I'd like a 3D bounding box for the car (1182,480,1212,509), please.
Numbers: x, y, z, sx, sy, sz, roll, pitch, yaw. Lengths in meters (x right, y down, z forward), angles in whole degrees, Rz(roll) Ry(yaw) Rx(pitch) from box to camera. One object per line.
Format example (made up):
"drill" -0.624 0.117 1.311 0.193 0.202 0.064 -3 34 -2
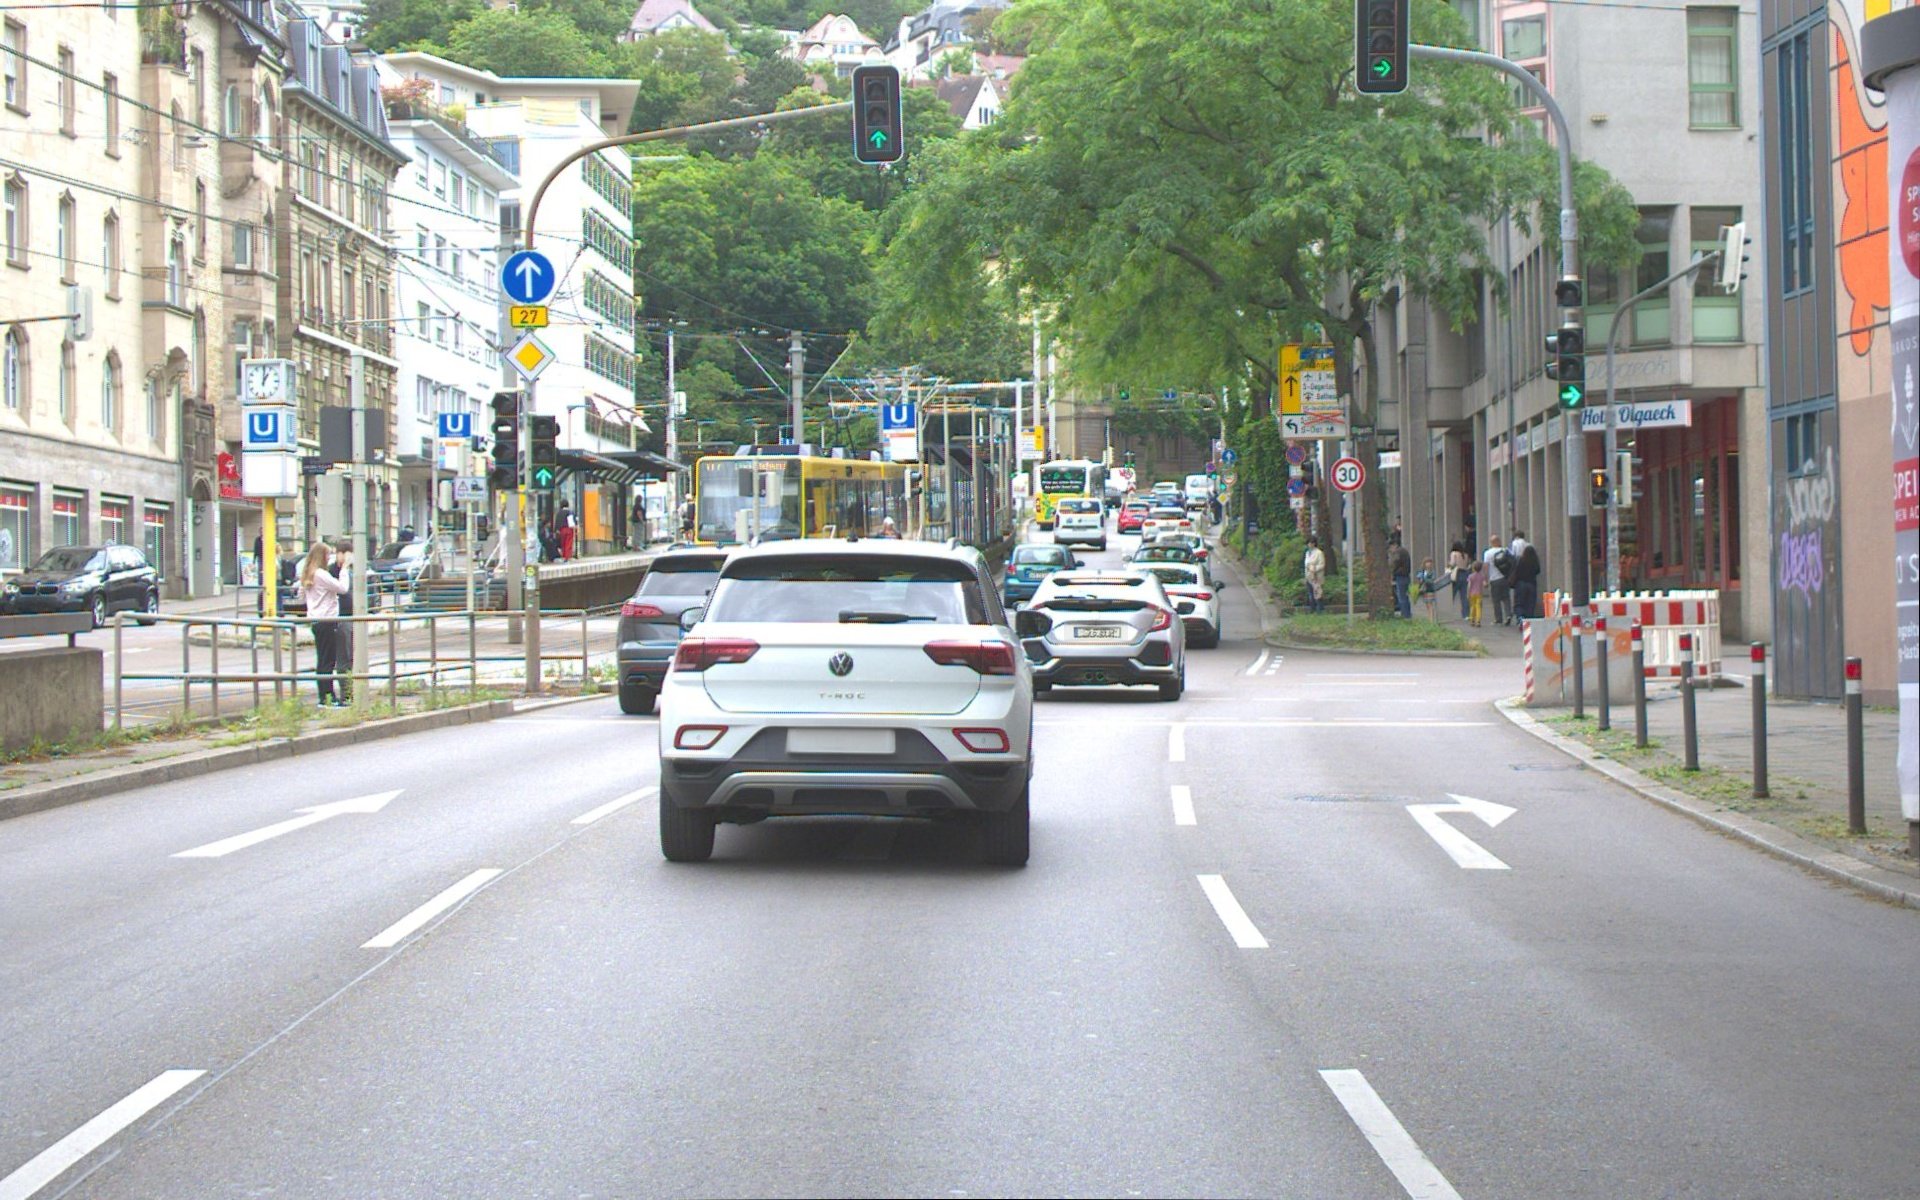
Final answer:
"car" 13.339 -5.945 193.676 1.673 1.555 3.678 1 0 3

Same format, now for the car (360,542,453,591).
"car" -16.395 -0.992 101.949 1.632 1.370 3.782 -2 1 8

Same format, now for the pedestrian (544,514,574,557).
"pedestrian" -10.321 -1.656 88.512 0.635 1.104 0.690 0 1 3

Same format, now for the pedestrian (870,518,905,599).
"pedestrian" -1.535 -0.885 72.629 0.685 1.705 0.712 0 1 3

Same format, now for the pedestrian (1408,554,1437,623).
"pedestrian" 8.922 -0.223 66.337 0.471 1.329 0.520 1 0 0

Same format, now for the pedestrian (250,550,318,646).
"pedestrian" -12.156 -0.044 61.798 0.876 1.699 0.811 0 1 33

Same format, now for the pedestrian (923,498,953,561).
"pedestrian" -0.602 -1.927 94.020 0.718 1.725 0.670 1 0 5

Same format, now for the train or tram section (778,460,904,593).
"train or tram section" -3.229 -2.034 94.782 2.835 3.509 5.751 1 1 4

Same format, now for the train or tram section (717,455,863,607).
"train or tram section" -4.058 -1.691 83.279 2.835 3.509 5.751 1 1 4

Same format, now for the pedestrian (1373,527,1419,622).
"pedestrian" 8.537 -0.503 67.277 0.721 1.796 0.834 -2 3 0

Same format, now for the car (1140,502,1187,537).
"car" 10.444 -4.116 176.474 1.885 1.678 4.159 1 1 10

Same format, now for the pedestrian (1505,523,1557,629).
"pedestrian" 10.890 -0.454 65.610 0.835 2.007 0.764 1 0 0

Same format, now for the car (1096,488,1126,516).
"car" 8.919 -5.744 202.369 1.673 1.555 3.986 1 1 3

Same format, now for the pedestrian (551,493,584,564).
"pedestrian" -9.639 -1.754 84.456 0.627 1.756 0.846 0 1 5

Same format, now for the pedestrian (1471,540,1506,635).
"pedestrian" 10.000 -0.239 65.078 0.518 1.783 0.764 1 0 0

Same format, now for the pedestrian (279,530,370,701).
"pedestrian" -6.426 0.148 34.785 0.764 1.715 0.637 0 1 3

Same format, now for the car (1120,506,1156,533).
"car" 8.157 -3.680 157.498 1.582 1.168 3.678 1 1 3

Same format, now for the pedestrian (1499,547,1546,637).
"pedestrian" 10.366 -0.152 63.344 0.762 1.606 0.618 -1 3 15

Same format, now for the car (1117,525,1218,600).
"car" 5.763 -1.049 96.027 2.364 2.007 5.148 1 1 -1

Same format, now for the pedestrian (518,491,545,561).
"pedestrian" -10.473 -1.819 84.010 0.635 1.705 0.690 0 1 -5

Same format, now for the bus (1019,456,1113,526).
"bus" 5.235 -5.222 166.976 3.373 3.054 13.321 1 1 7

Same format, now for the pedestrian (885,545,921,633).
"pedestrian" -1.123 -0.224 67.975 0.635 1.705 0.871 0 1 3

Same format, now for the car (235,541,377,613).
"car" -14.435 -0.532 76.127 1.657 1.547 4.534 0 1 9

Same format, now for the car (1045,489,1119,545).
"car" 4.648 -3.145 130.675 2.365 2.007 5.147 1 1 7

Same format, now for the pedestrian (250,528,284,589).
"pedestrian" -20.121 -1.214 99.837 0.627 1.756 0.846 -1 1 -39

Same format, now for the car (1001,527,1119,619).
"car" 2.333 -0.626 79.023 2.365 2.007 5.147 1 1 5

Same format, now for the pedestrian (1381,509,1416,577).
"pedestrian" 11.797 -1.532 92.503 0.762 1.776 0.848 -2 3 -1

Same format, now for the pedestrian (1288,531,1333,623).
"pedestrian" 7.000 -0.468 68.641 0.693 1.771 0.689 -5 1 0

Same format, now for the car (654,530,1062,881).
"car" -0.572 0.461 17.742 1.837 1.578 4.157 1 1 -3

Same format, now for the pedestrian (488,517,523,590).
"pedestrian" -10.594 -1.089 80.157 0.688 1.705 0.662 0 1 3

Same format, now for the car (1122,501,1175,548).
"car" 7.059 -2.790 128.419 1.885 1.678 4.161 1 1 4

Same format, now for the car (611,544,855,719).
"car" -2.214 0.266 34.541 1.994 1.630 4.000 0 1 3

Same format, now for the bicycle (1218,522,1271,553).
"bicycle" 10.571 -2.331 127.873 1.881 1.133 0.808 1 0 10

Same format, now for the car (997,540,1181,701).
"car" 1.496 0.202 38.452 1.885 1.678 4.160 1 1 4

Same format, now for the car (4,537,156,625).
"car" -18.338 -0.398 71.835 1.673 1.753 4.782 1 1 4

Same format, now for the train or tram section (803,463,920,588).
"train or tram section" -2.825 -2.180 100.526 2.835 3.509 5.751 1 1 4

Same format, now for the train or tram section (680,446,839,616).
"train or tram section" -4.454 -1.570 77.527 2.835 3.666 5.751 1 1 4

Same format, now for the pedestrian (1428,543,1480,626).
"pedestrian" 9.367 -0.298 65.205 0.835 1.557 0.764 1 0 0

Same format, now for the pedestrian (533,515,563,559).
"pedestrian" -10.452 -1.609 87.199 0.635 1.104 0.690 0 1 3

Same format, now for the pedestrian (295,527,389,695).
"pedestrian" -6.380 0.111 35.543 0.792 1.715 0.772 0 1 3

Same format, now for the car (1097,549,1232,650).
"car" 3.561 -0.028 60.483 1.884 1.678 4.162 1 1 -3
